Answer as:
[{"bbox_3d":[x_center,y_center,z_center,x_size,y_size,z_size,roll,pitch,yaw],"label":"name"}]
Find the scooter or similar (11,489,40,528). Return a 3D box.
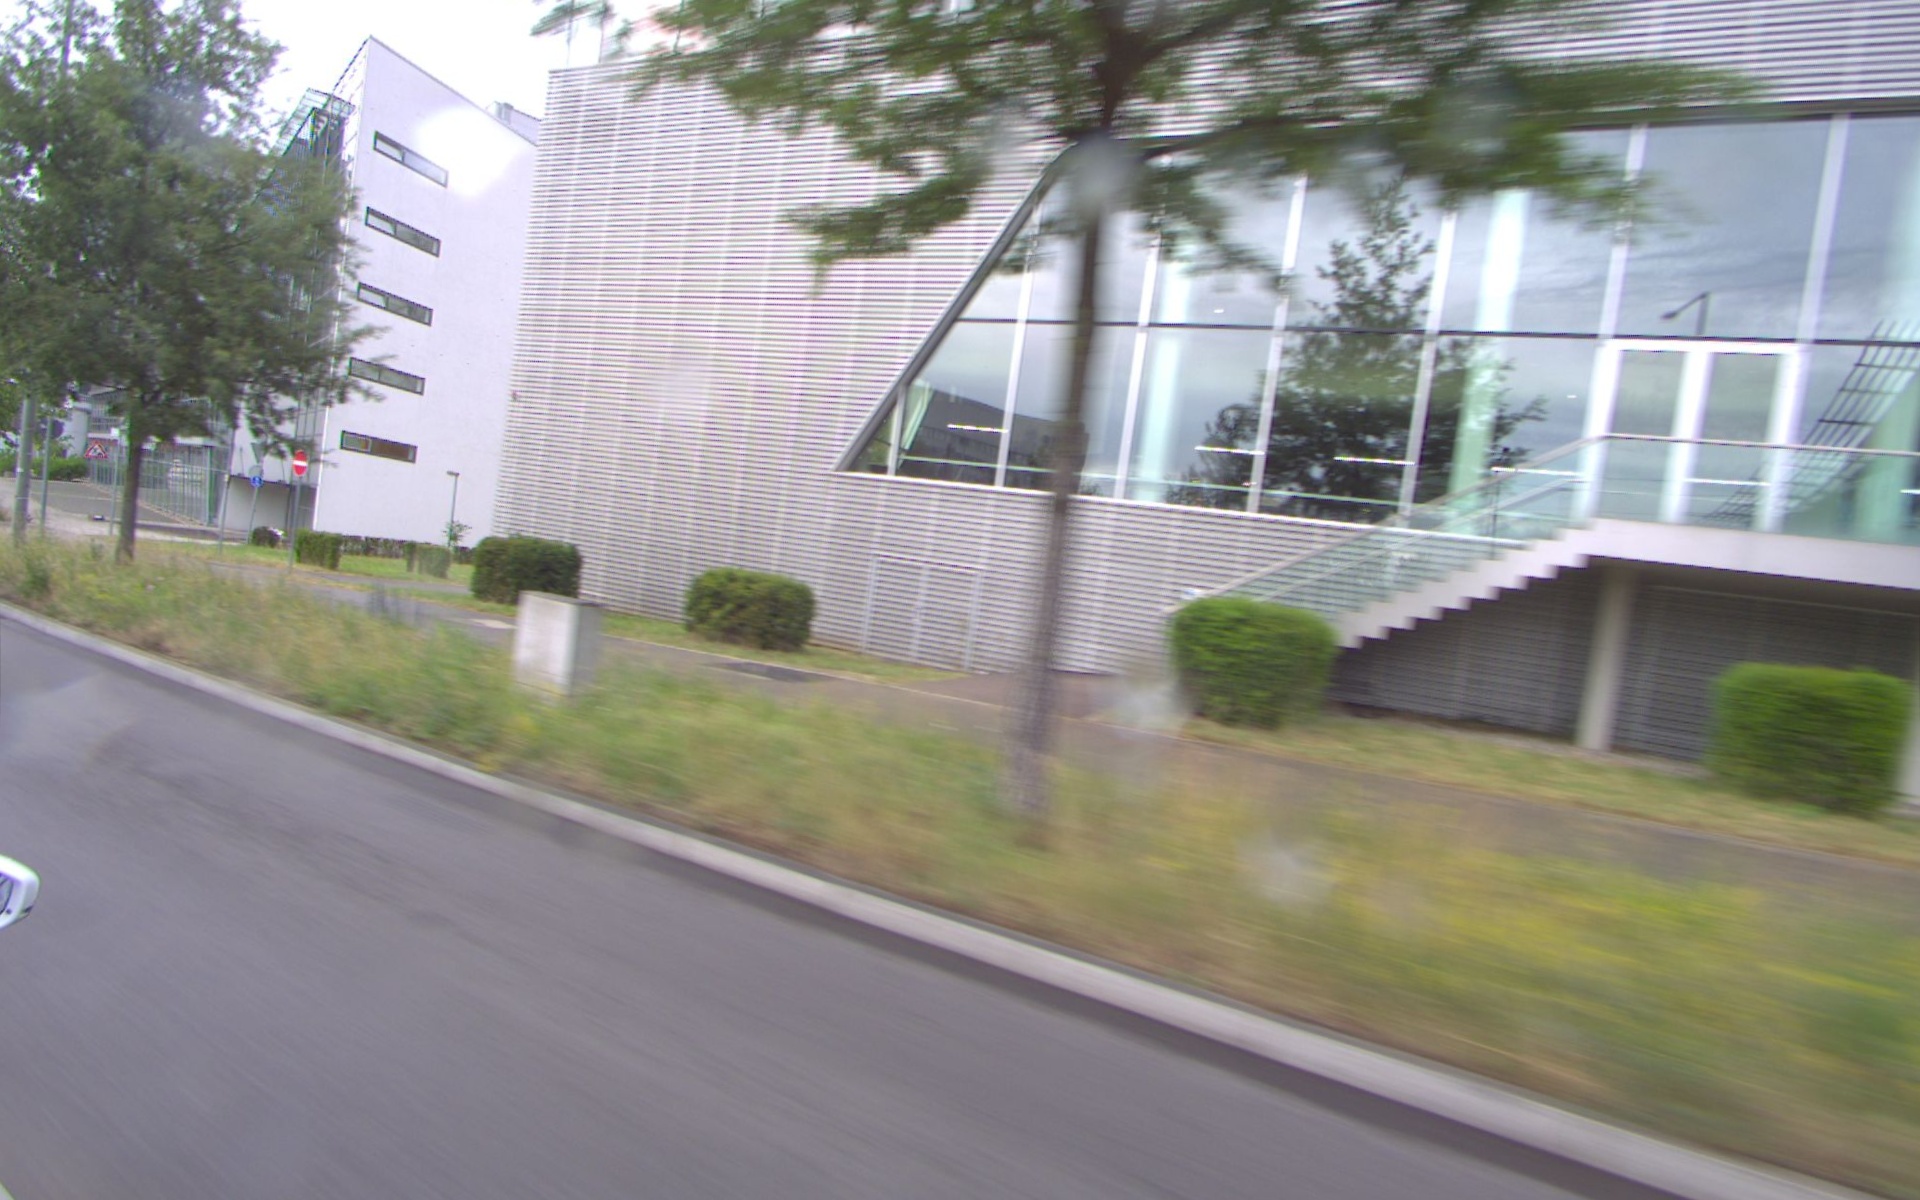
[{"bbox_3d":[-33.644,-3.298,36.212,1.316,1.280,0.457,7,3,35],"label":"scooter or similar"}]
